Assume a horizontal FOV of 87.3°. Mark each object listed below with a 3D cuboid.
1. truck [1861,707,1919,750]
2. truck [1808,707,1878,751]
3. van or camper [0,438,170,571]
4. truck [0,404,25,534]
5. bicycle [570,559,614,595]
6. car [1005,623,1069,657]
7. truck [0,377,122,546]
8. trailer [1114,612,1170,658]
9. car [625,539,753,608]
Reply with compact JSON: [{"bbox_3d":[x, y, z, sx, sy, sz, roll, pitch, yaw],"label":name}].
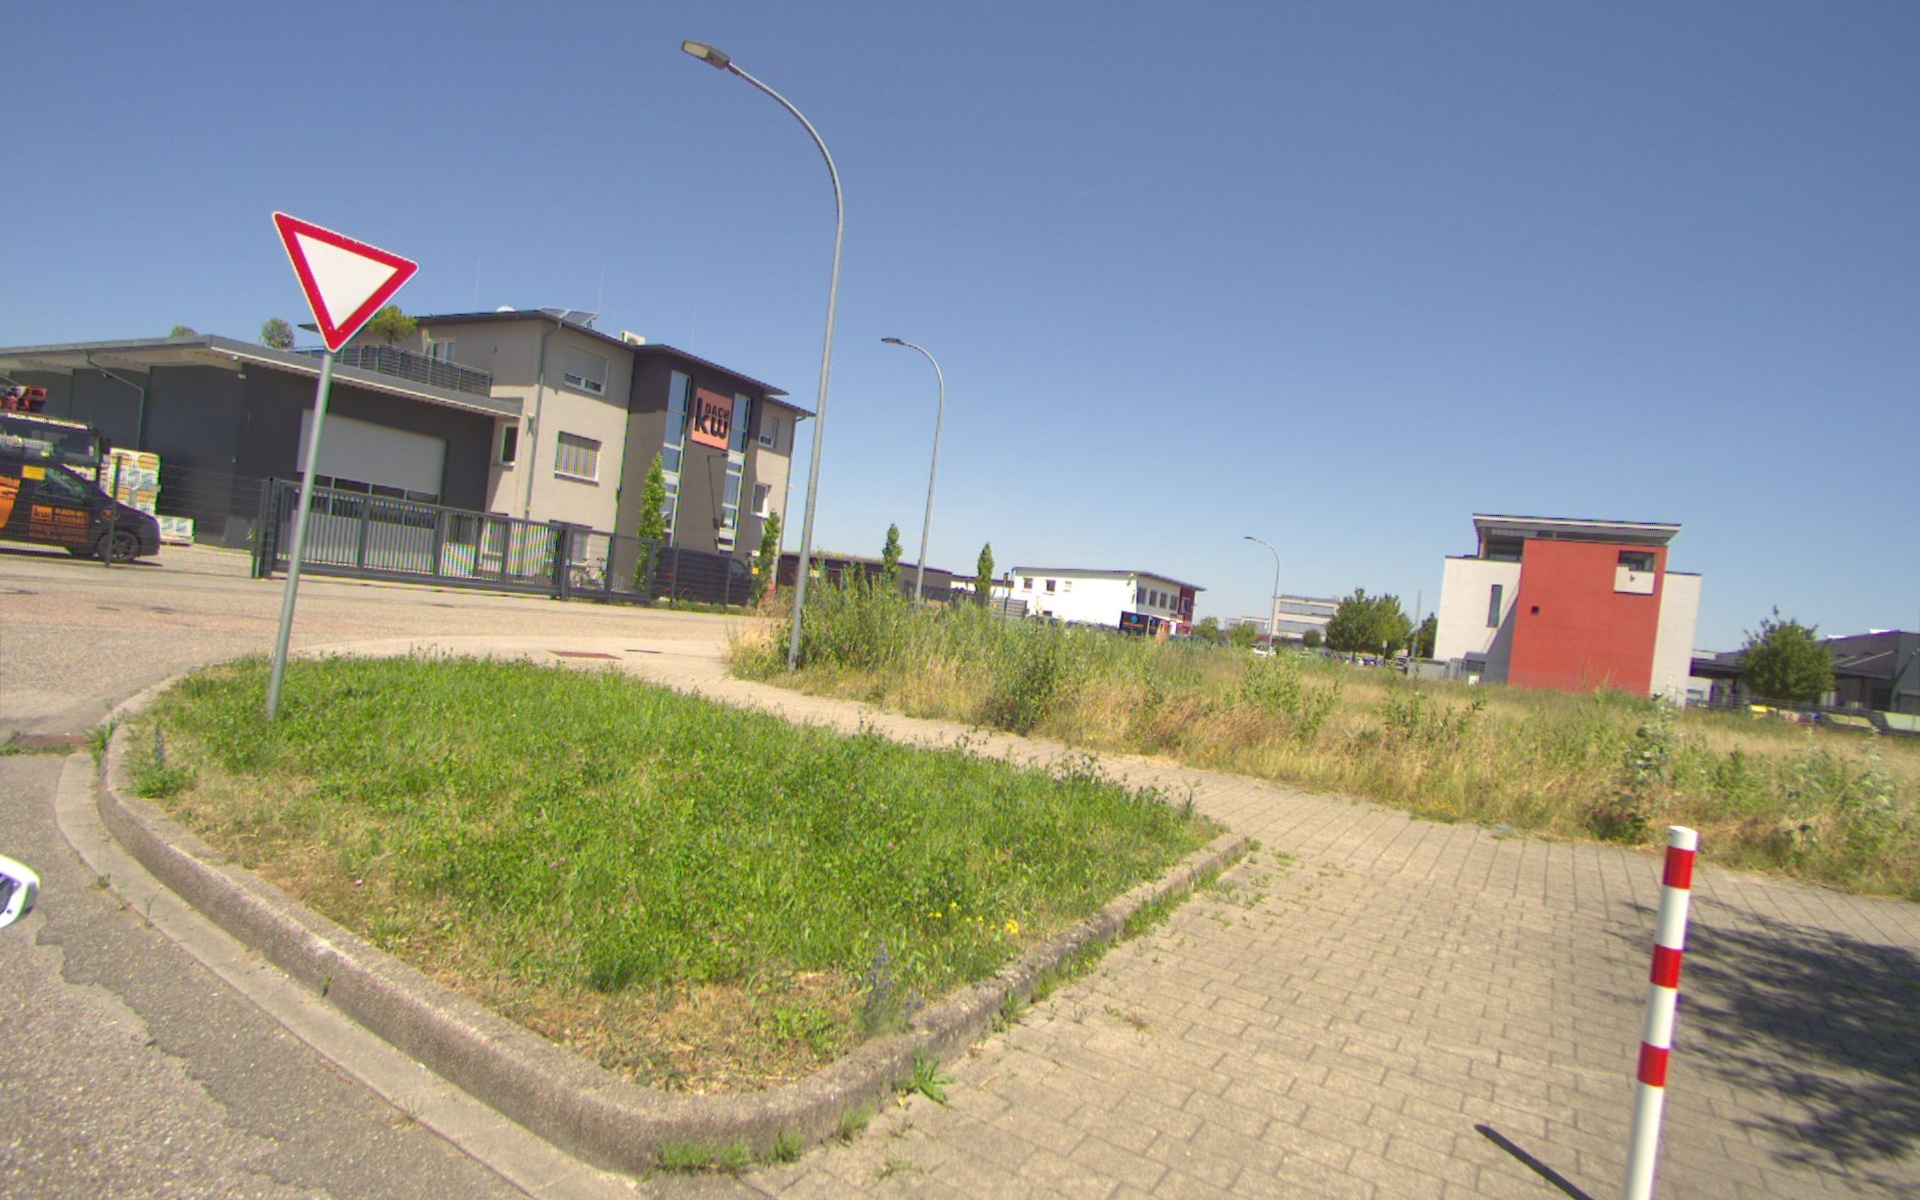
[{"bbox_3d":[53.245,7.292,57.237,1.966,2.038,3.993,7,0,30],"label":"truck"},{"bbox_3d":[50.734,7.375,57.895,1.966,2.038,4.349,7,0,30],"label":"truck"},{"bbox_3d":[-18.362,-1.973,18.973,1.966,2.190,4.944,8,0,30],"label":"van or camper"},{"bbox_3d":[-33.297,-4.483,32.156,6.818,3.978,2.925,7,0,30],"label":"truck"},{"bbox_3d":[-13.565,-0.835,37.112,0.436,1.200,1.808,7,0,17],"label":"bicycle"},{"bbox_3d":[3.992,2.079,51.584,1.650,1.401,3.635,8,0,31],"label":"car"},{"bbox_3d":[-26.808,-3.906,28.030,6.818,3.978,2.925,7,0,30],"label":"truck"},{"bbox_3d":[11.979,2.360,66.141,2.195,2.632,3.994,7,0,29],"label":"trailer"},{"bbox_3d":[-9.465,-0.893,35.428,1.966,1.890,3.992,7,0,31],"label":"car"}]
